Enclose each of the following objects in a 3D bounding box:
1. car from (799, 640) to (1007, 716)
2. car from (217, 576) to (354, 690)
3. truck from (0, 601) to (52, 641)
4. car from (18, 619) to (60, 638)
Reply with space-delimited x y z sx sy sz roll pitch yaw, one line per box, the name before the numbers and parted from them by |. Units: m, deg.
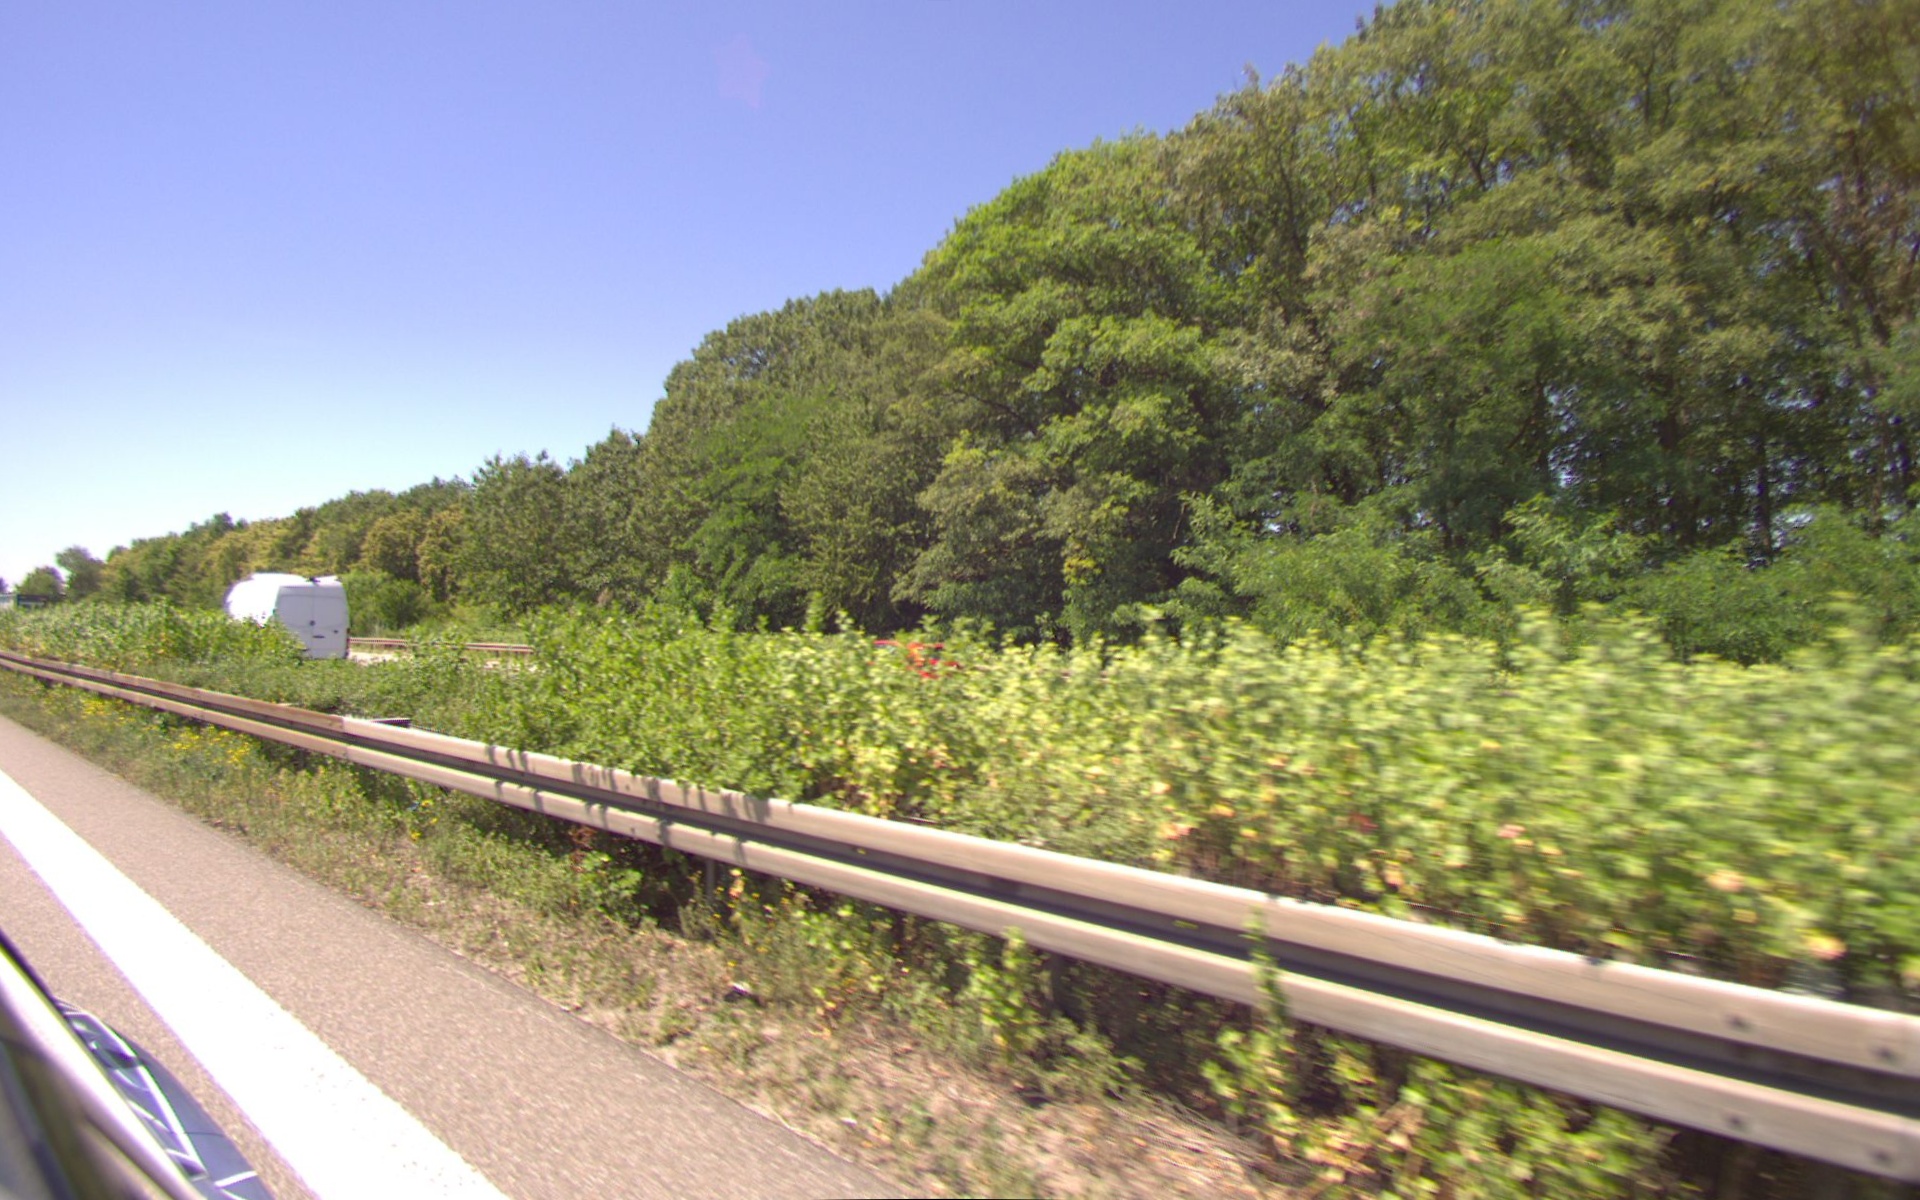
car | -1.347 1.649 22.443 4.565 1.414 1.912 -1 -1 40
car | -18.423 0.867 27.576 4.594 2.847 1.973 -1 -1 41
truck | -99.807 2.247 108.051 9.993 4.145 2.983 -1 -2 40
car | -68.121 2.068 74.855 3.997 1.348 1.776 -1 -1 40
